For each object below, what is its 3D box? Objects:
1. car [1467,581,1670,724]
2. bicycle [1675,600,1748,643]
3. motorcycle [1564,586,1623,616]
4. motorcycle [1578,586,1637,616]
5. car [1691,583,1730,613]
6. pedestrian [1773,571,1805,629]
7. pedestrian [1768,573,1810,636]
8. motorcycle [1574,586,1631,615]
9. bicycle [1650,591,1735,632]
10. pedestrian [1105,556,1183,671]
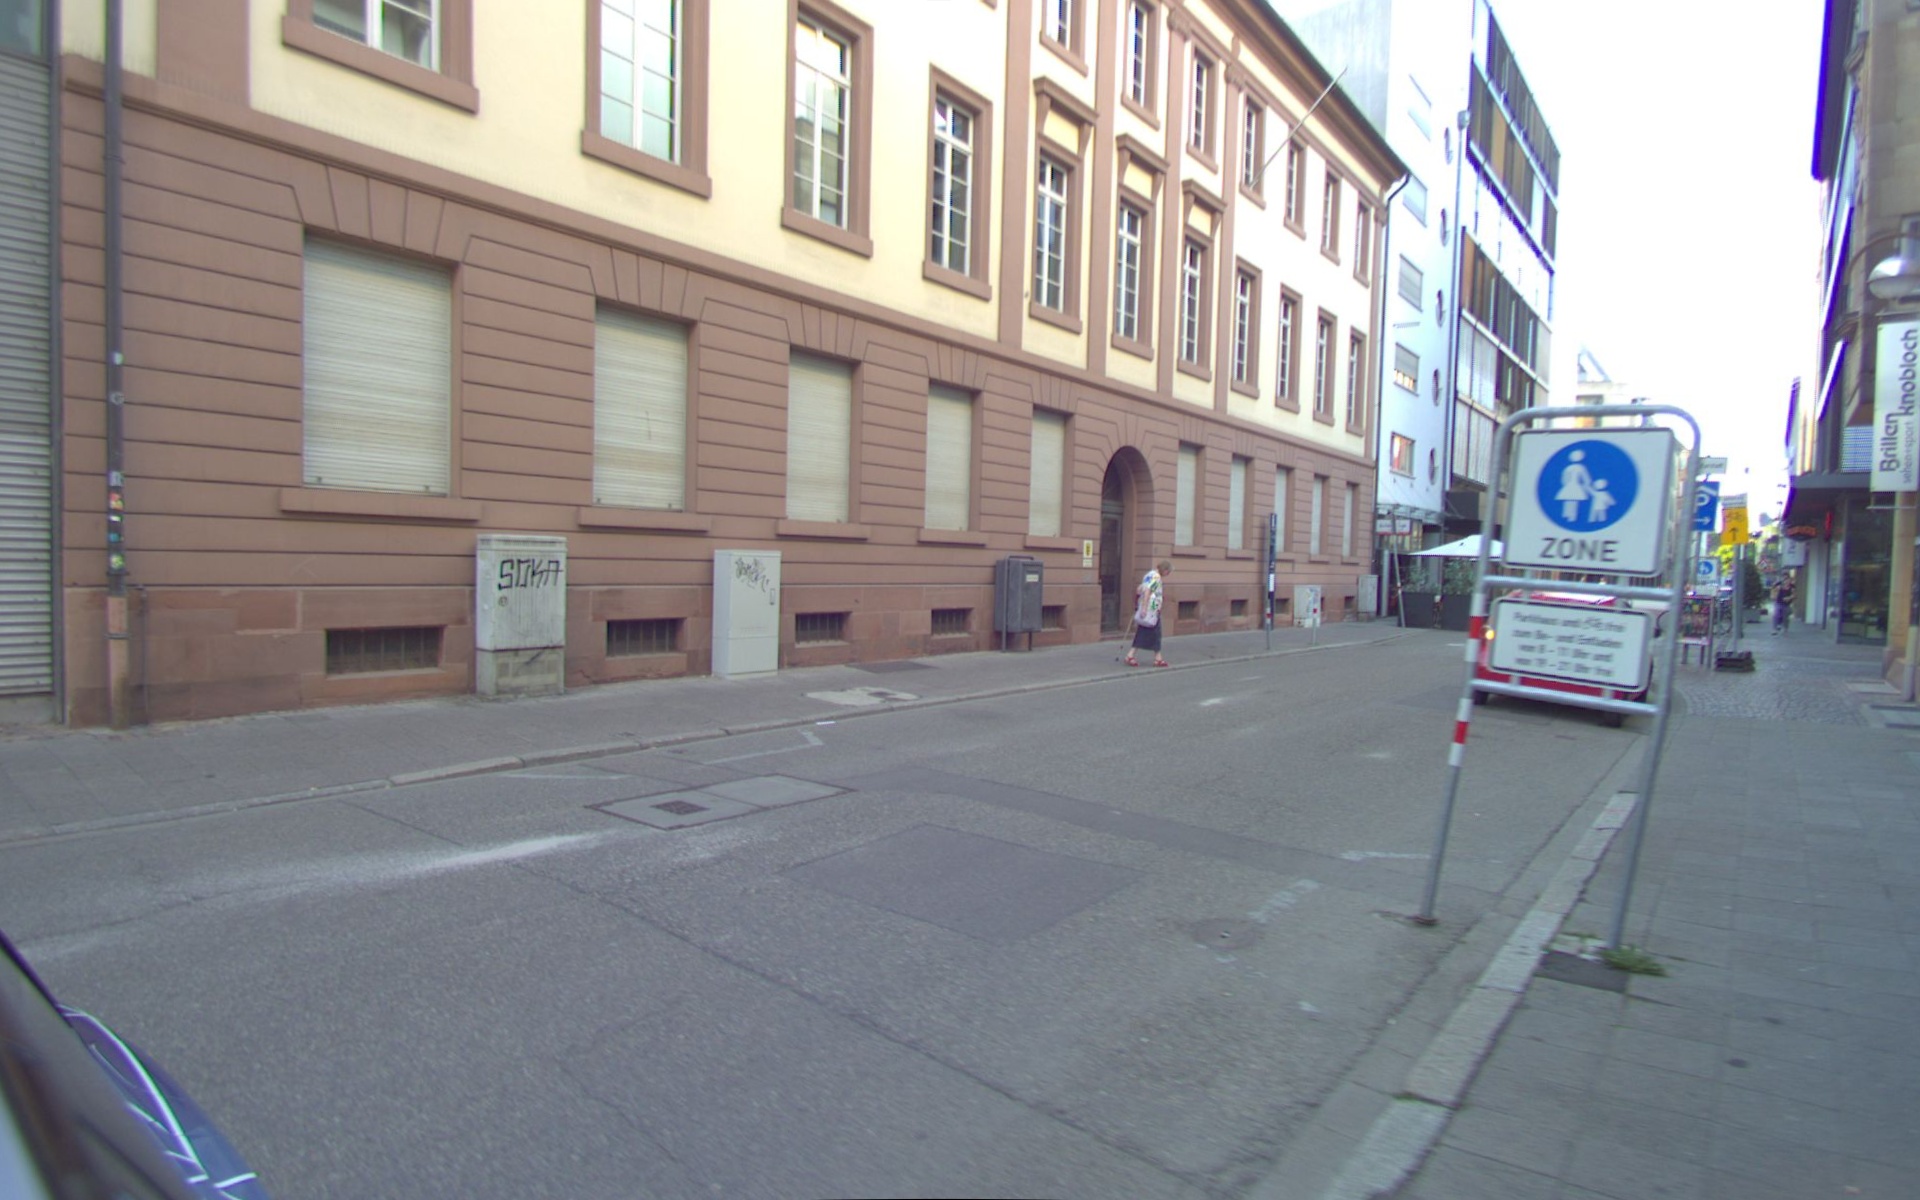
[{"bbox_3d":[7.643,0.542,12.600,1.637,1.451,3.115,5,4,39],"label":"car"},{"bbox_3d":[20.842,0.582,28.075,1.607,1.127,0.612,0,1,41],"label":"bicycle"},{"bbox_3d":[28.946,0.017,46.284,2.194,1.292,0.642,3,3,42],"label":"motorcycle"},{"bbox_3d":[29.882,0.022,46.721,2.194,1.292,0.642,3,3,42],"label":"motorcycle"},{"bbox_3d":[37.410,-0.132,50.430,1.425,1.428,3.844,0,1,38],"label":"car"},{"bbox_3d":[24.693,-0.007,30.140,0.671,1.683,0.753,2,2,41],"label":"pedestrian"},{"bbox_3d":[23.018,0.113,28.128,0.811,1.683,0.919,2,2,37],"label":"pedestrian"},{"bbox_3d":[30.644,-0.001,48.300,2.194,1.292,0.642,3,3,42],"label":"motorcycle"},{"bbox_3d":[21.221,0.313,29.353,1.953,1.139,0.612,0,1,41],"label":"bicycle"},{"bbox_3d":[2.827,0.184,15.517,0.811,1.683,0.919,2,2,37],"label":"pedestrian"}]
